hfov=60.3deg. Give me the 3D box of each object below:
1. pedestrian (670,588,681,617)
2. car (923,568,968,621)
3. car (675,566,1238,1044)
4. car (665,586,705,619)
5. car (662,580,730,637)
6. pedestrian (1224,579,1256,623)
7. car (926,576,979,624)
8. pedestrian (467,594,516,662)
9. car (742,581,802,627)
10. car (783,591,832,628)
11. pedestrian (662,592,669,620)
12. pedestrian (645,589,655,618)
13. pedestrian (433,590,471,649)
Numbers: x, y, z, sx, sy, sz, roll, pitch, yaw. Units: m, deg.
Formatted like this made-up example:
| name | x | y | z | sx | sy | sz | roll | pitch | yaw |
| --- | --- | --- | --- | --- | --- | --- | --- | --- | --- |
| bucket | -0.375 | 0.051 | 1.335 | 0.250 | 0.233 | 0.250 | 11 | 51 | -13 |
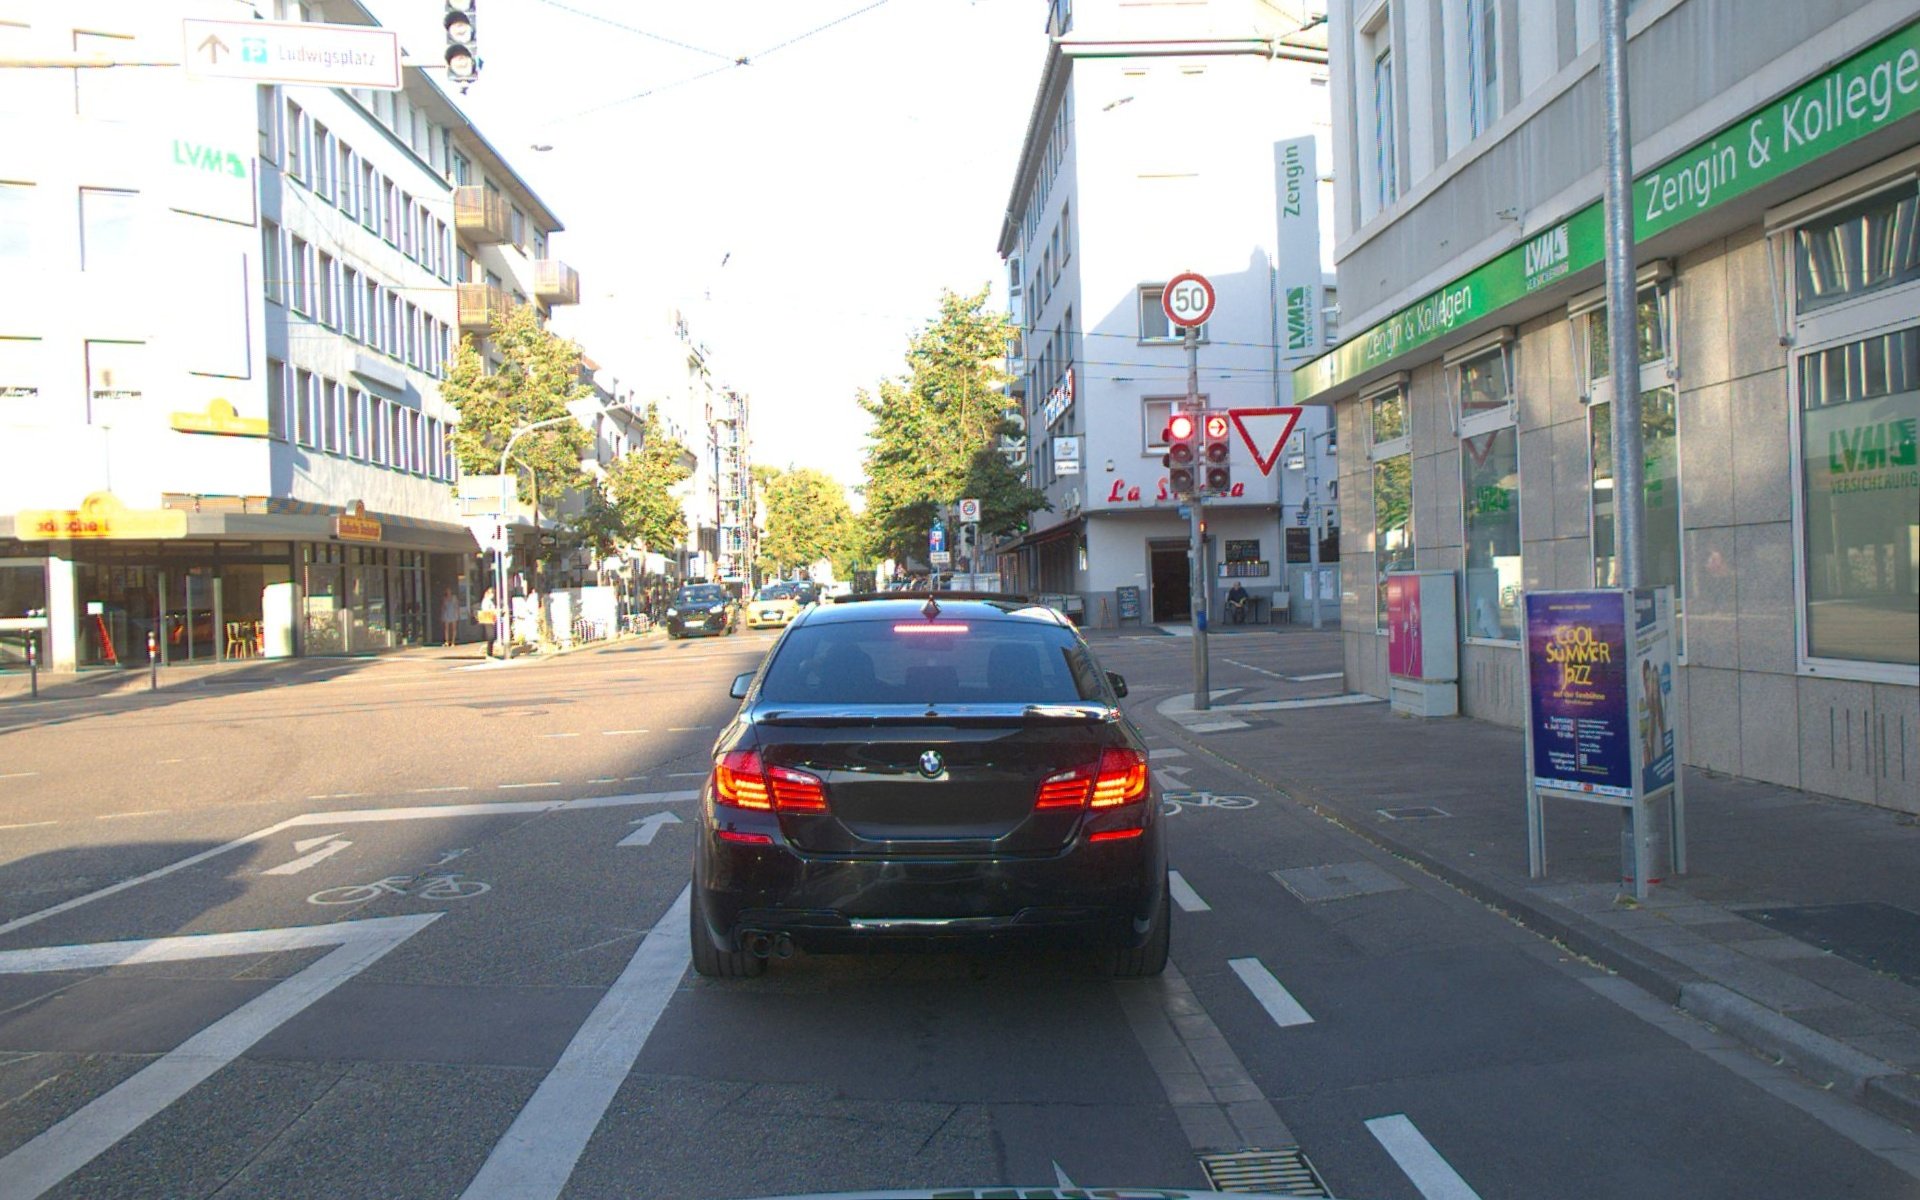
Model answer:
| name | x | y | z | sx | sy | sz | roll | pitch | yaw |
| --- | --- | --- | --- | --- | --- | --- | --- | --- | --- |
| pedestrian | -14.591 | 0.116 | 84.782 | 0.435 | 1.441 | 0.525 | -2 | 0 | -4 |
| car | -0.547 | -0.213 | 60.982 | 1.393 | 1.887 | 3.049 | -1 | 0 | -5 |
| car | -0.121 | 0.643 | 7.693 | 1.865 | 1.567 | 4.447 | 0 | 1 | -3 |
| car | -13.077 | 0.088 | 78.810 | 1.701 | 1.487 | 3.993 | -2 | 1 | -8 |
| car | -8.273 | 0.238 | 52.100 | 1.956 | 1.646 | 3.993 | -2 | 1 | -8 |
| pedestrian | 7.856 | 0.022 | 46.442 | 0.683 | 1.177 | 0.843 | -2 | 0 | -4 |
| car | -0.281 | 0.006 | 54.587 | 1.593 | 1.497 | 3.393 | -1 | 0 | -3 |
| pedestrian | -11.065 | 0.653 | 39.065 | 0.927 | 1.564 | 0.907 | -2 | 0 | -6 |
| car | -6.584 | 0.126 | 57.563 | 1.956 | 1.467 | 3.993 | -2 | 1 | -8 |
| car | -5.957 | 0.337 | 64.335 | 1.701 | 1.315 | 3.993 | -2 | 1 | -8 |
| pedestrian | -15.061 | 0.300 | 84.703 | 0.301 | 1.383 | 0.284 | -2 | 0 | -11 |
| pedestrian | -15.816 | 0.189 | 84.380 | 0.435 | 1.441 | 0.525 | -2 | 0 | -4 |
| pedestrian | -15.041 | 0.571 | 48.995 | 0.807 | 1.705 | 0.871 | -2 | 0 | -3 |
